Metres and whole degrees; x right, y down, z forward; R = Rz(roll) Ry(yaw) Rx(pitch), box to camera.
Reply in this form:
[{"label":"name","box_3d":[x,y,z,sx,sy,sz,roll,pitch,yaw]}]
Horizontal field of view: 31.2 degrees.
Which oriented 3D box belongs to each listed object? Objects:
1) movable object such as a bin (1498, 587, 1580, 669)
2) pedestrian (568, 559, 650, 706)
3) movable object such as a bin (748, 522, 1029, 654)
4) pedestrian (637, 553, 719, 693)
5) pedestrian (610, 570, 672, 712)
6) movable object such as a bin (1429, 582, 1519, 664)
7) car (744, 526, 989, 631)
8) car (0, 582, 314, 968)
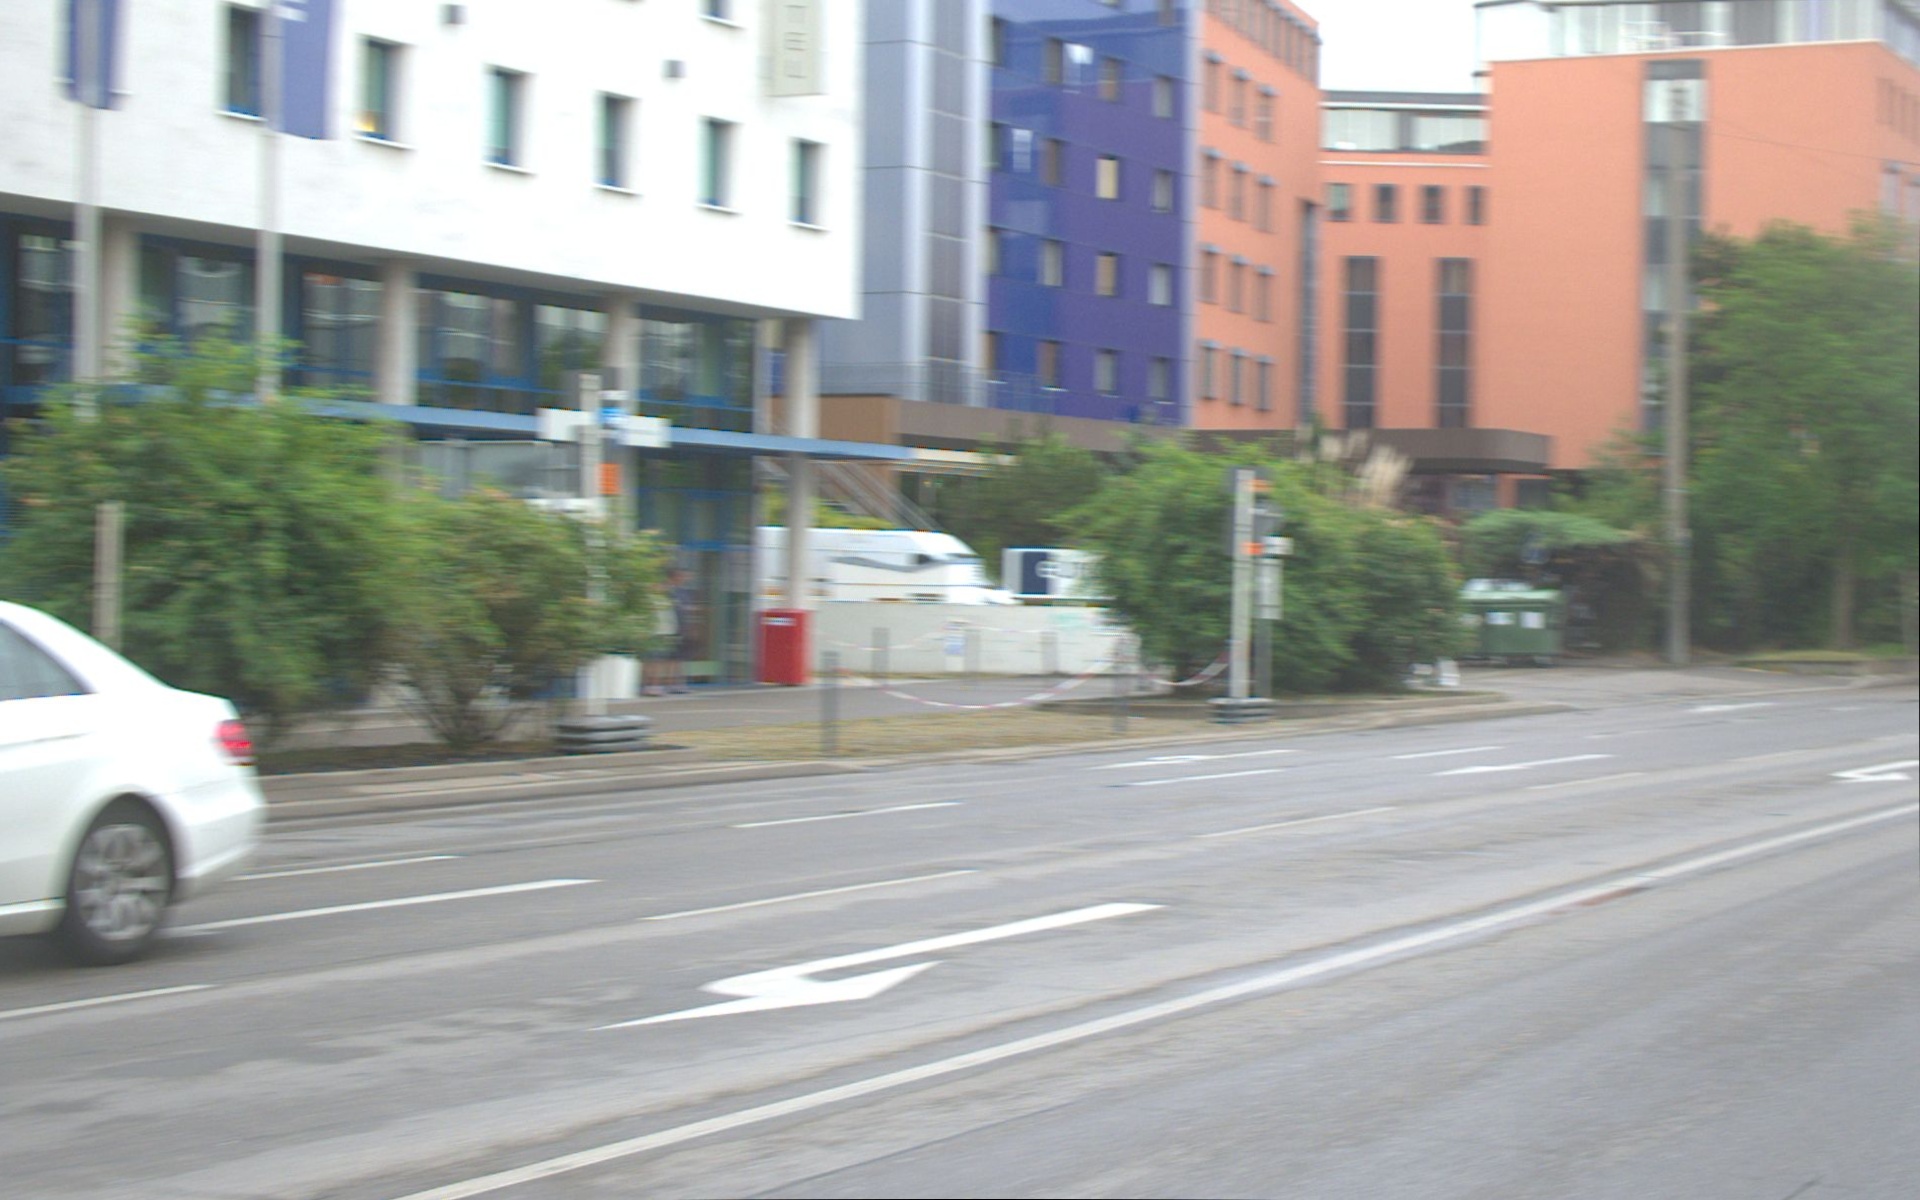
[{"label":"movable object such as a bin","box_3d":[10.748,0.534,63.805,1.391,1.486,0.950,-1,-3,17]},{"label":"pedestrian","box_3d":[-4.891,0.462,47.977,0.803,2.007,0.814,-1,-3,28]},{"label":"movable object such as a bin","box_3d":[-1.537,-0.218,73.292,5.633,2.619,2.158,-1,-3,26]},{"label":"pedestrian","box_3d":[-4.125,0.343,50.280,0.898,2.007,0.815,2,-3,-34]},{"label":"pedestrian","box_3d":[-4.564,0.595,49.247,0.812,2.007,0.804,0,-3,-1]},{"label":"movable object such as a bin","box_3d":[9.657,0.445,64.604,1.393,1.486,0.949,-2,-3,37]},{"label":"car","box_3d":[-1.935,-0.422,71.079,4.719,2.007,1.890,-1,-3,27]},{"label":"car","box_3d":[-4.528,0.607,12.138,1.820,1.382,4.956,1,0,26]}]
